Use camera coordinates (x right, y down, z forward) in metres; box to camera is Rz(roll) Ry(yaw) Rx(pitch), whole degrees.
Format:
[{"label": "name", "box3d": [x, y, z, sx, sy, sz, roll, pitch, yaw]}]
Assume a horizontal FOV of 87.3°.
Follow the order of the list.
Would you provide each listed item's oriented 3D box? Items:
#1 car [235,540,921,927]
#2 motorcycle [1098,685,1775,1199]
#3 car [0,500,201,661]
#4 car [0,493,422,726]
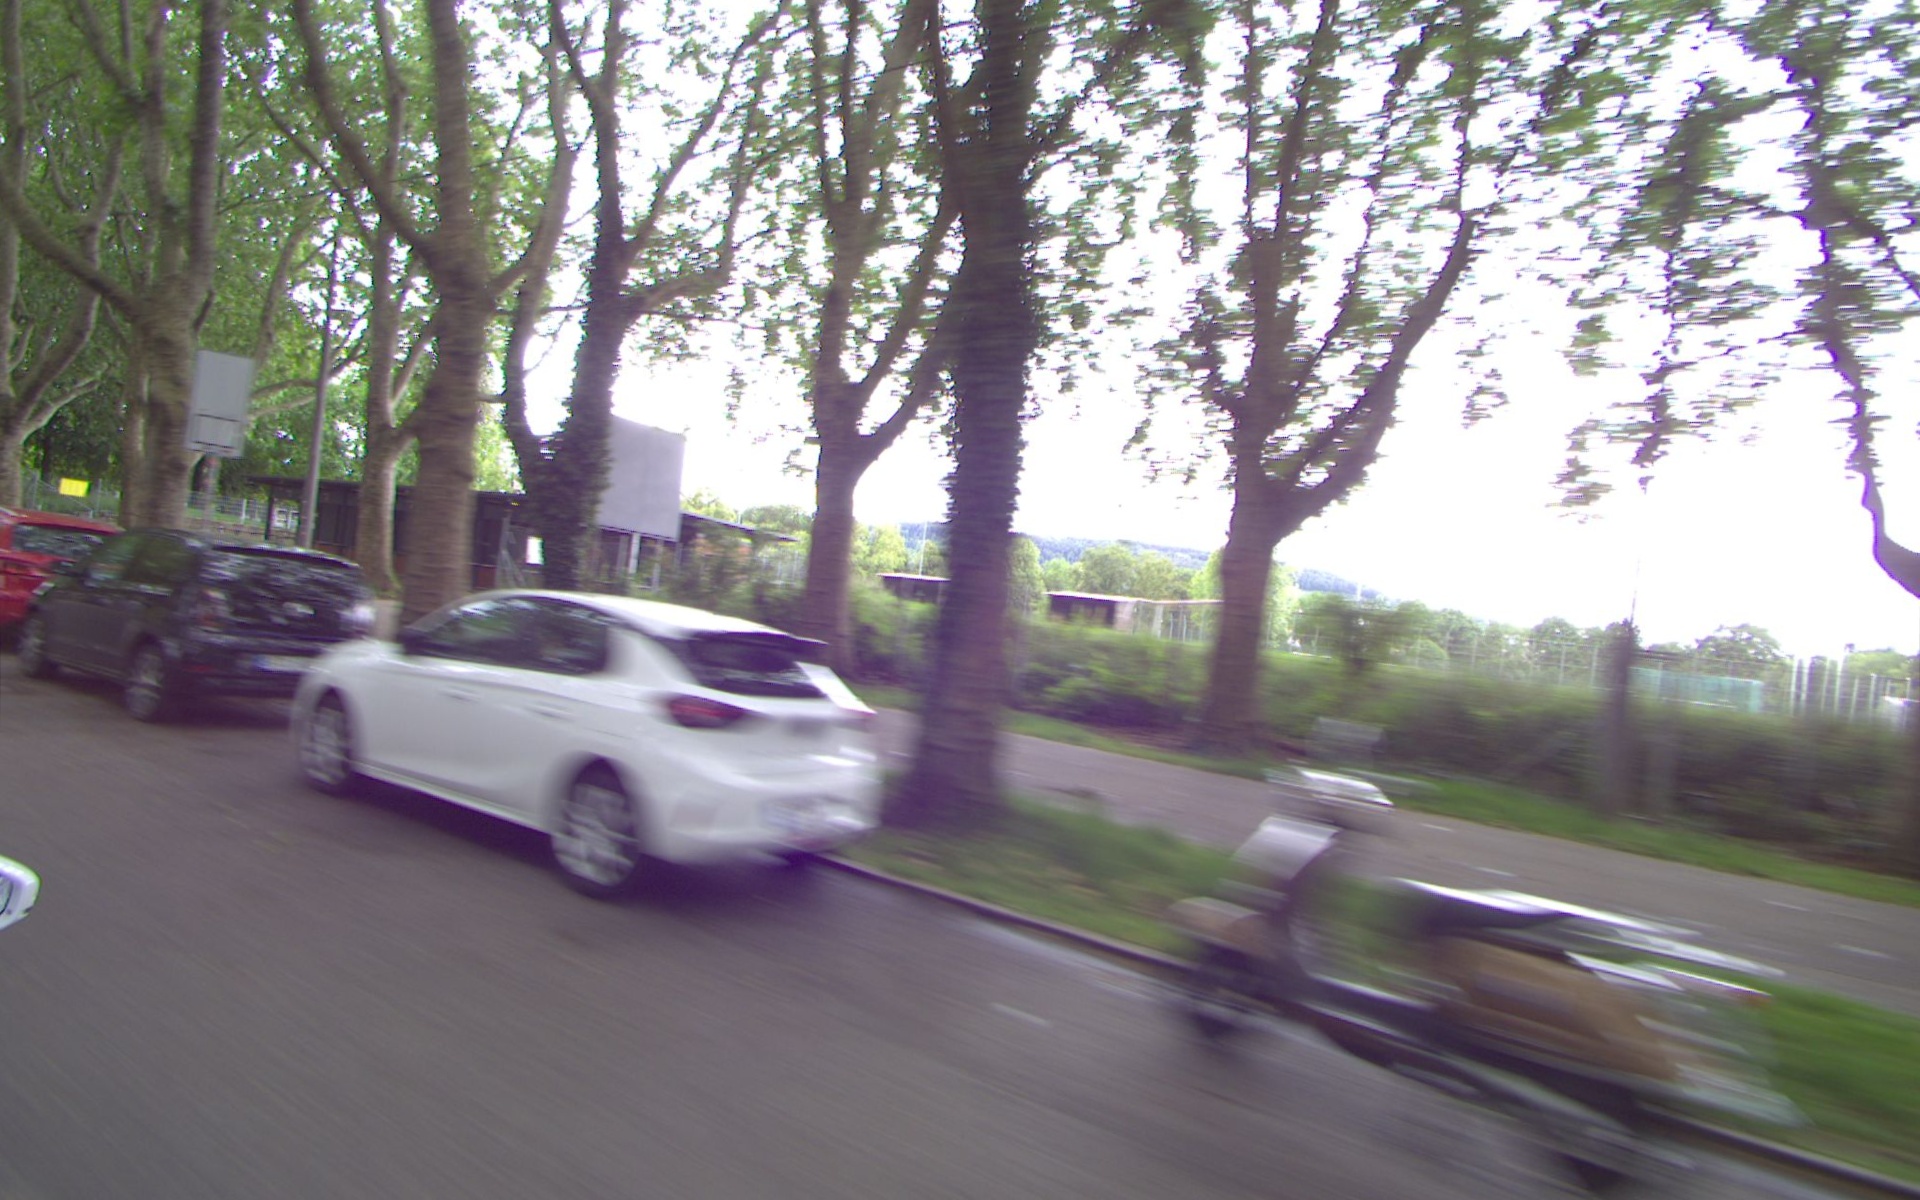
[{"label": "car", "box3d": [-2.484, 0.612, 6.300, 4.053, 1.456, 1.738, 7, -1, 30]}, {"label": "motorcycle", "box3d": [1.600, 1.128, 3.635, 1.963, 1.347, 0.712, 7, -1, 40]}, {"label": "car", "box3d": [-10.906, -0.386, 11.433, 4.548, 1.454, 1.722, 7, -3, 28]}, {"label": "car", "box3d": [-6.896, 0.039, 9.055, 4.013, 1.486, 1.734, 7, -3, 33]}]
